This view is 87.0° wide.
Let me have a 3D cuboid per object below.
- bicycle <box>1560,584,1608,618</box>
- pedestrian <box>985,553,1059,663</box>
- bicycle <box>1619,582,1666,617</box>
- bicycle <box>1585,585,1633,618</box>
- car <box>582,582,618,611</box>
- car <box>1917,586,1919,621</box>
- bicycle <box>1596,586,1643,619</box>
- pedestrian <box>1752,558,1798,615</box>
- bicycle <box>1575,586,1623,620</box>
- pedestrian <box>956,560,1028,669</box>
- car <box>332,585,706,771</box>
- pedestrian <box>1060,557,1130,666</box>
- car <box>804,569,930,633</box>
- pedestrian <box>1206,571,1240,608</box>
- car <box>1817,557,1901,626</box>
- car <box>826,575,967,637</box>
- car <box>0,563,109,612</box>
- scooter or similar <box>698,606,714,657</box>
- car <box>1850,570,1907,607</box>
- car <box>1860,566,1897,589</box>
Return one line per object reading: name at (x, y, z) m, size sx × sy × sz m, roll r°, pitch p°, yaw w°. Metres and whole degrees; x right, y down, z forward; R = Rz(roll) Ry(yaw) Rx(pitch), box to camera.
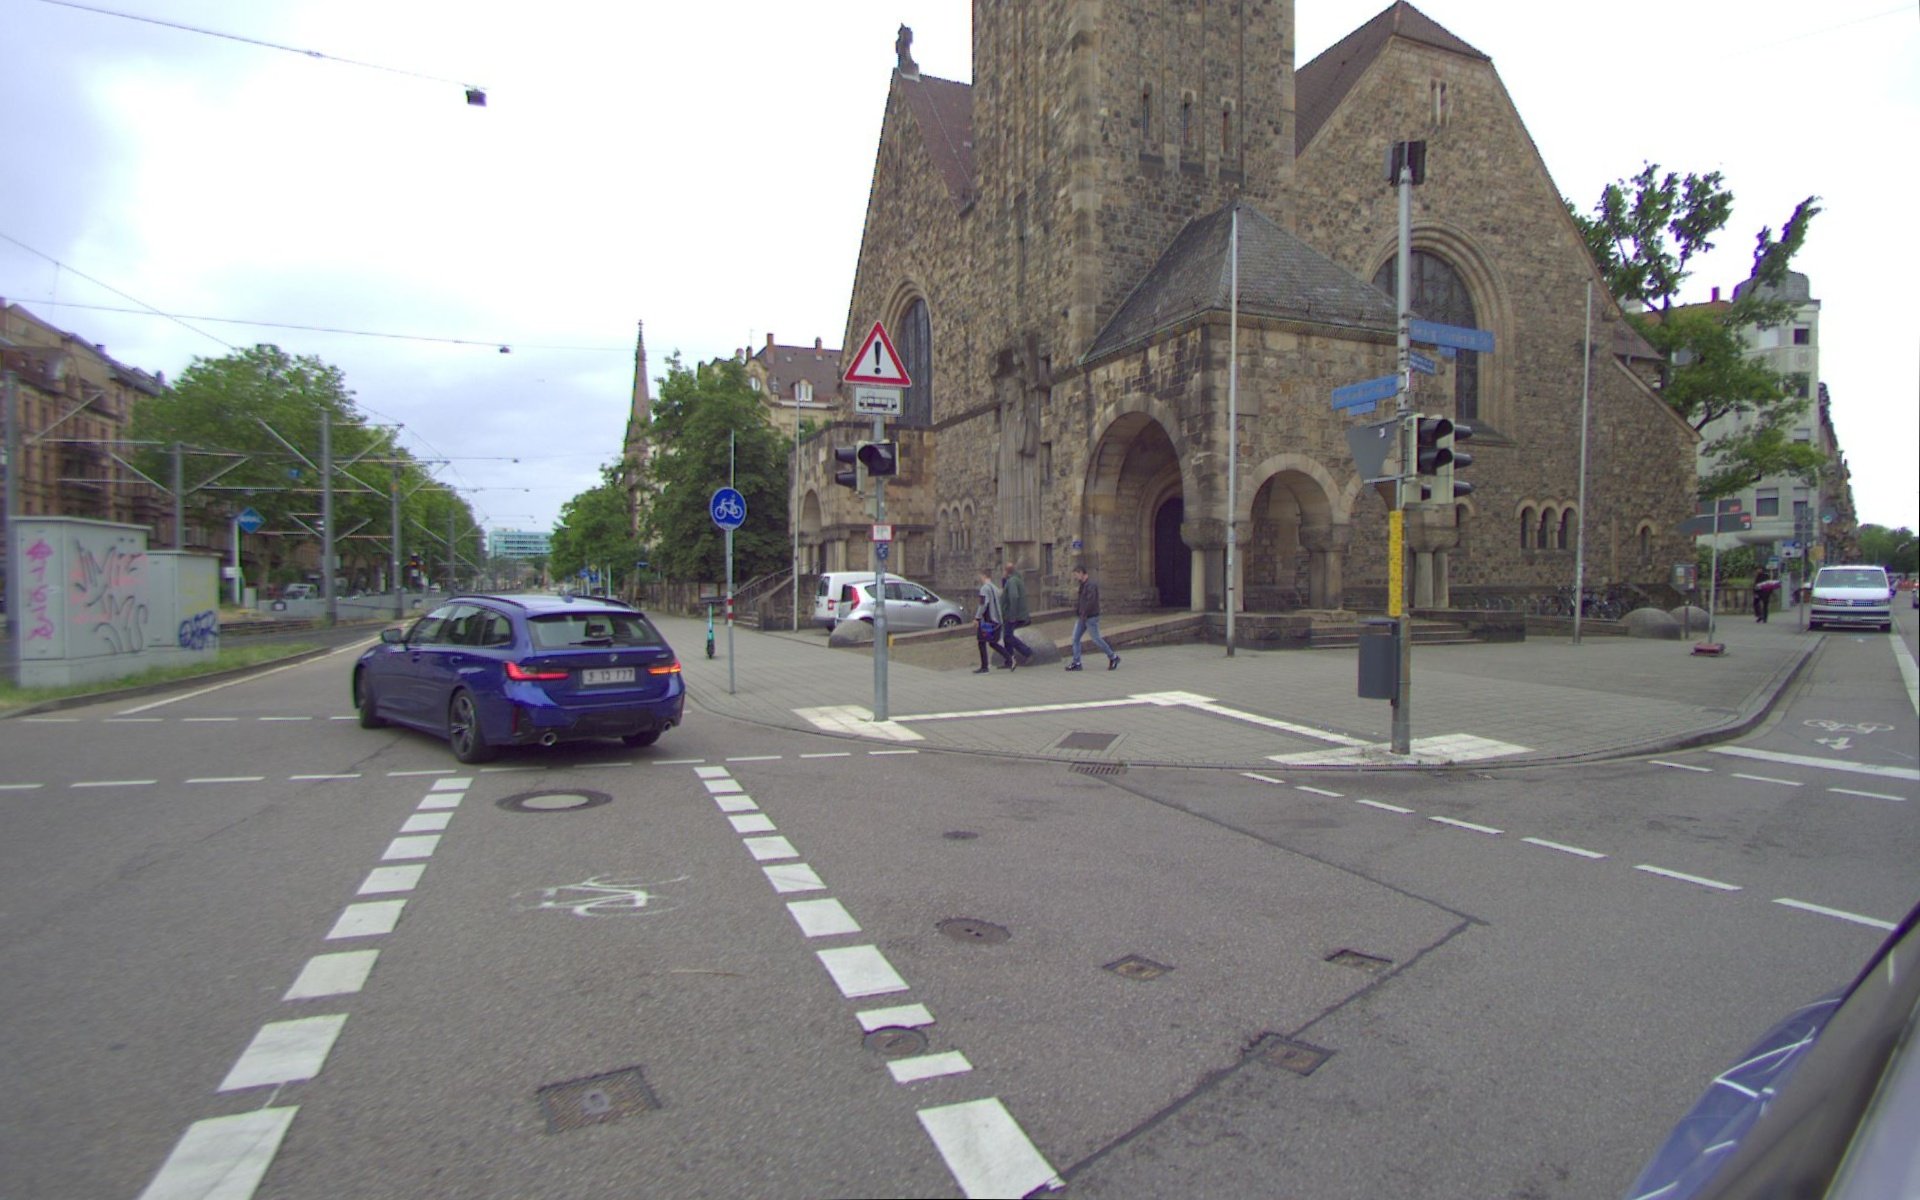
bicycle at (20.323, 0.012, 32.975) m, size 0.304 × 1.073 × 1.386 m, roll 0°, pitch 1°, yaw -24°
pedestrian at (1.048, 0.115, 17.144) m, size 0.804 × 1.780 × 0.954 m, roll 3°, pitch 3°, yaw 43°
bicycle at (22.920, -0.038, 34.021) m, size 0.304 × 1.161 × 1.346 m, roll 0°, pitch 1°, yaw -24°
bicycle at (21.507, 0.035, 33.554) m, size 0.304 × 1.073 × 1.386 m, roll 0°, pitch 1°, yaw -24°
car at (-20.239, -0.224, 56.798) m, size 1.652 × 1.549 × 3.474 m, roll -1°, pitch 1°, yaw -23°
car at (52.664, 0.197, 54.252) m, size 1.826 × 1.794 × 3.940 m, roll 0°, pitch 1°, yaw 42°
bicycle at (22.067, 0.071, 33.885) m, size 0.304 × 1.073 × 1.346 m, roll 0°, pitch 1°, yaw -24°
pedestrian at (27.109, -0.465, 33.645) m, size 0.999 × 1.831 × 0.817 m, roll -3°, pitch 2°, yaw -26°
bicycle at (20.932, 0.092, 33.171) m, size 0.304 × 1.073 × 1.386 m, roll 0°, pitch 1°, yaw -24°
pedestrian at (0.515, 0.215, 16.351) m, size 0.952 × 1.693 × 0.634 m, roll 0°, pitch 3°, yaw -40°
car at (-4.495, 0.577, 9.996) m, size 4.303 × 1.423 × 1.794 m, roll 1°, pitch 1°, yaw 42°
pedestrian at (2.204, 0.163, 16.520) m, size 0.674 × 1.706 × 0.954 m, roll 3°, pitch 3°, yaw 43°
car at (-2.794, -0.005, 30.158) m, size 3.395 × 1.815 × 1.691 m, roll -1°, pitch 1°, yaw -20°
pedestrian at (6.965, -0.275, 26.817) m, size 0.602 × 0.963 × 0.675 m, roll -1°, pitch 1°, yaw -24°
car at (27.450, -0.300, 30.925) m, size 1.804 × 1.944 × 5.086 m, roll 1°, pitch 1°, yaw 42°
car at (-1.700, 0.120, 26.952) m, size 3.395 × 1.549 × 1.622 m, roll -1°, pitch 1°, yaw -20°
car at (-55.236, -0.783, 60.557) m, size 2.207 × 2.762 × 7.098 m, roll -1°, pitch 1°, yaw 5°
scooter or similar at (-5.461, 0.665, 21.715) m, size 0.235 × 1.066 × 0.774 m, roll -1°, pitch 1°, yaw -21°
car at (41.129, -0.528, 45.290) m, size 1.815 × 1.585 × 3.938 m, roll 1°, pitch 1°, yaw 43°
car at (62.640, -1.534, 68.983) m, size 1.815 × 1.585 × 3.938 m, roll 1°, pitch 1°, yaw 43°
